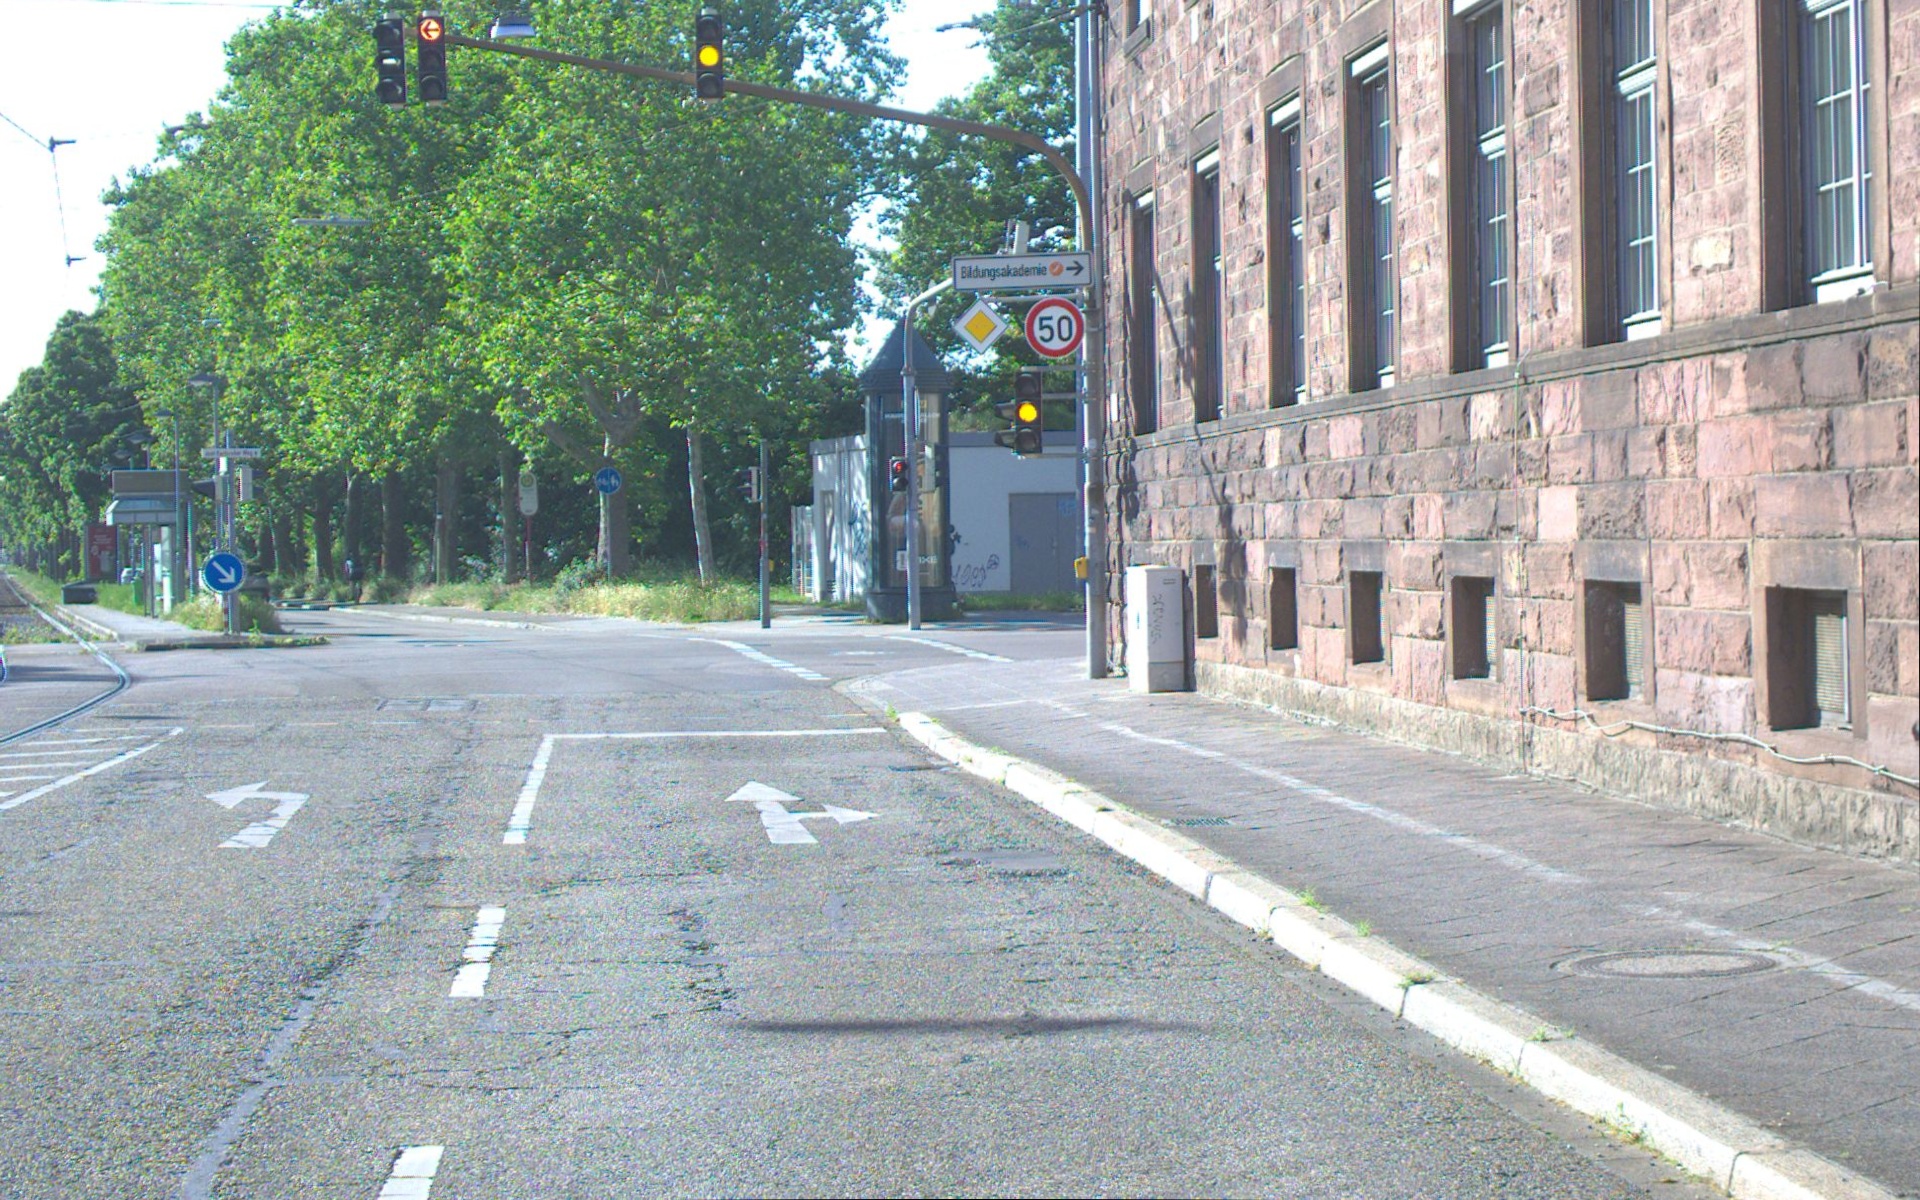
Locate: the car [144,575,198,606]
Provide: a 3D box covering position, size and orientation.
[{"bbox_3d":[-43.037,-0.525,187.456,1.942,1.605,4.001,-1,1,-26],"label":"car"}]
